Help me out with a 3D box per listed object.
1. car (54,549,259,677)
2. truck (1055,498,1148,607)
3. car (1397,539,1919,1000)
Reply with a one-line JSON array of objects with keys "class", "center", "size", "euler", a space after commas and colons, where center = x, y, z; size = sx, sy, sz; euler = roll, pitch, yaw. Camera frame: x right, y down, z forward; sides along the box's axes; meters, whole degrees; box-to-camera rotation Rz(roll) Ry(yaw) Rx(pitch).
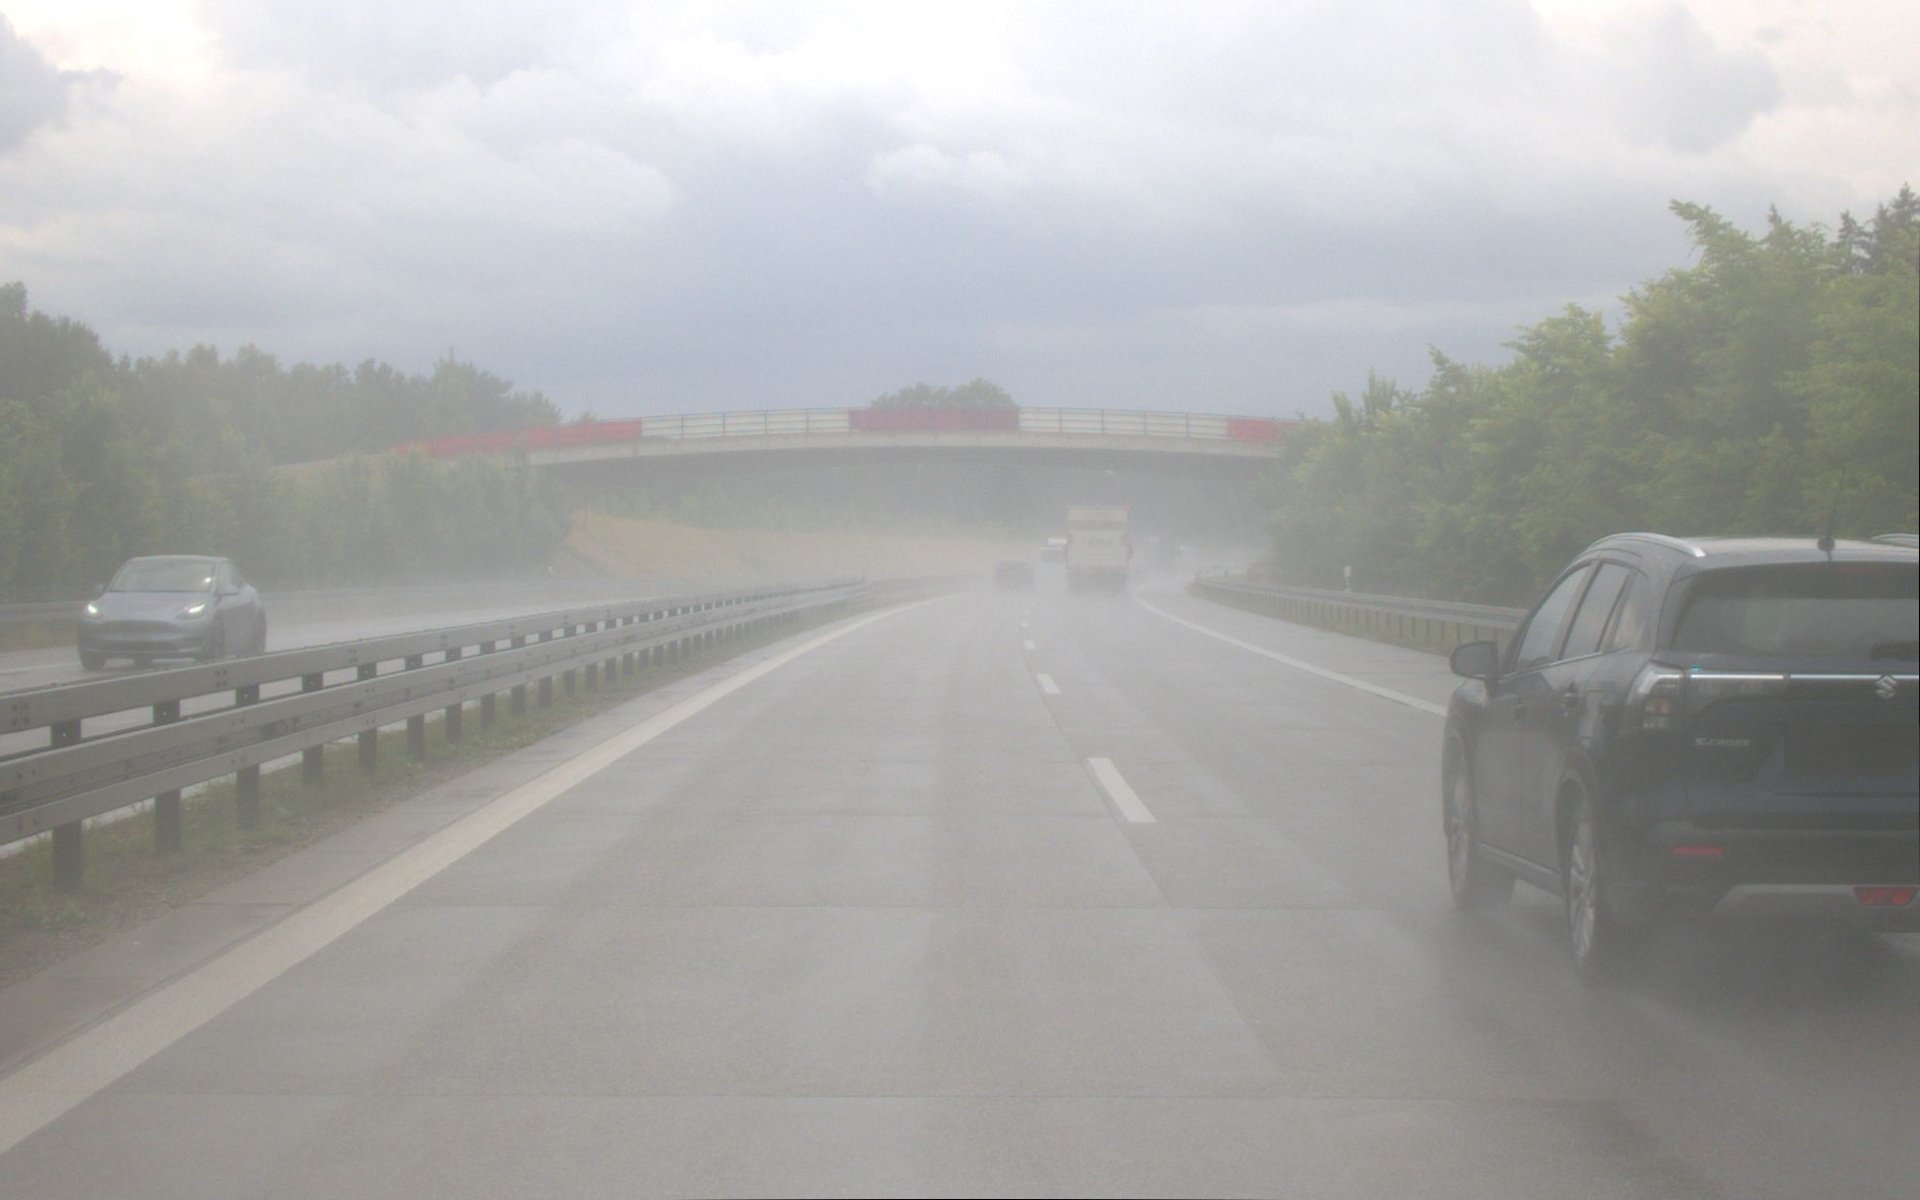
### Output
[{"class": "car", "center": [-11.464, 0.153, 49.307], "size": [1.993, 1.577, 4.001], "euler": [-2, 2, -1]}, {"class": "truck", "center": [5.969, -2.001, 143.856], "size": [3.244, 4.422, 8.244], "euler": [0, 1, 7]}, {"class": "car", "center": [2.870, 0.560, 13.659], "size": [1.894, 1.570, 3.632], "euler": [1, 1, 2]}]
